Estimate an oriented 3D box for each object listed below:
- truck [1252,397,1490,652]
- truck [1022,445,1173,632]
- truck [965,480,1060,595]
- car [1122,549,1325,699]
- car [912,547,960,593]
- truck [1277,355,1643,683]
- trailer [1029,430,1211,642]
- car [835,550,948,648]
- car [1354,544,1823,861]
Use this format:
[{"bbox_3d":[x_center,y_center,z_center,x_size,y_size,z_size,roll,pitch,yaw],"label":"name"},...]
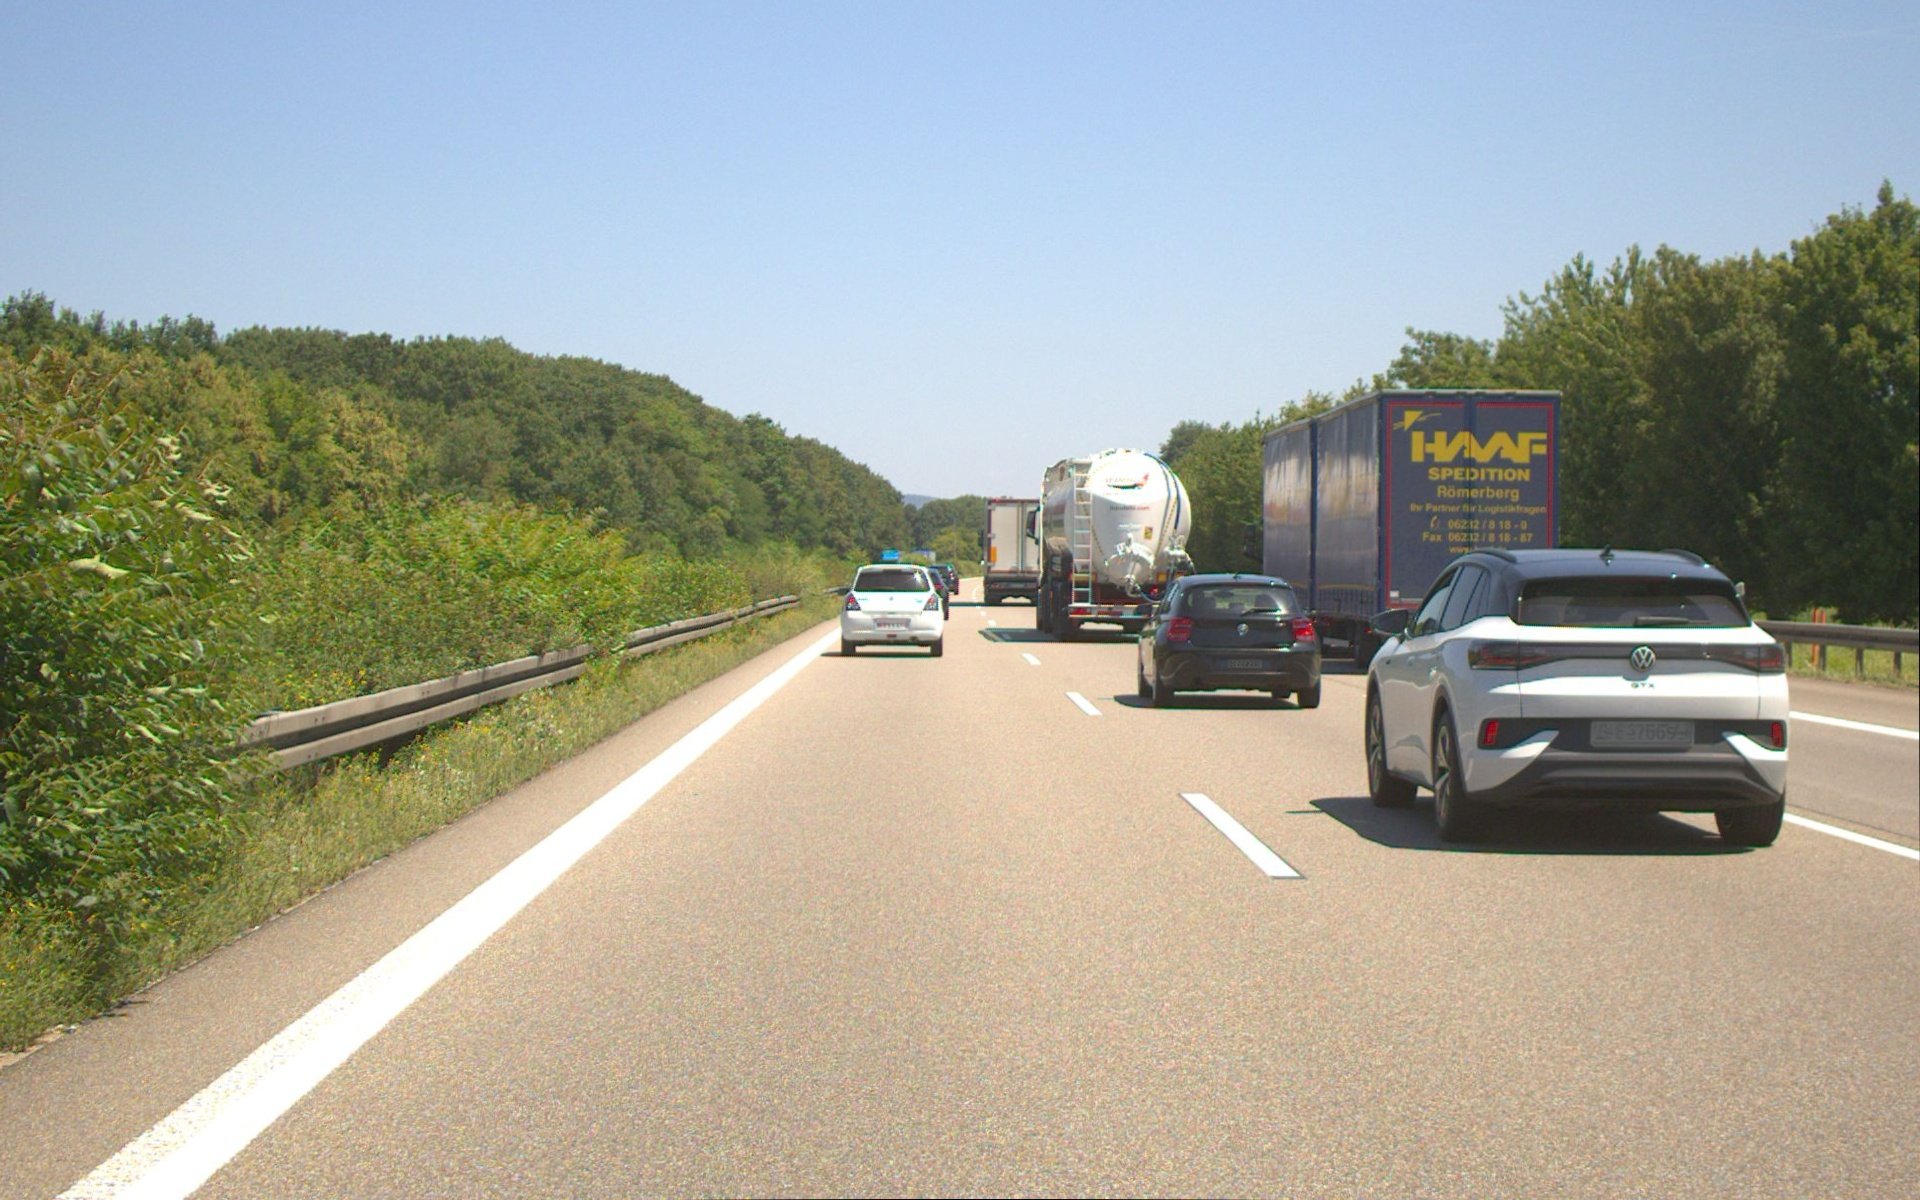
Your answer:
[{"bbox_3d":[7.065,-1.299,60.306,3.109,4.124,8.056,1,1,0],"label":"truck"},{"bbox_3d":[3.079,-1.410,79.060,2.911,4.065,7.196,1,1,-2],"label":"truck"},{"bbox_3d":[1.972,-2.419,133.689,3.394,4.199,12.084,1,1,0],"label":"truck"},{"bbox_3d":[2.826,0.219,37.661,1.850,1.518,3.957,1,1,-1],"label":"car"},{"bbox_3d":[-1.250,-1.628,182.254,2.475,2.346,5.182,1,1,0],"label":"car"},{"bbox_3d":[7.094,-1.159,51.652,3.109,4.124,15.512,1,1,0],"label":"truck"},{"bbox_3d":[3.235,-1.347,73.034,2.911,4.055,12.419,1,1,-1],"label":"trailer"},{"bbox_3d":[-1.158,-0.038,57.428,1.799,1.546,3.610,1,1,-2],"label":"car"},{"bbox_3d":[3.488,0.495,19.884,1.802,1.597,4.381,1,1,-1],"label":"car"}]
